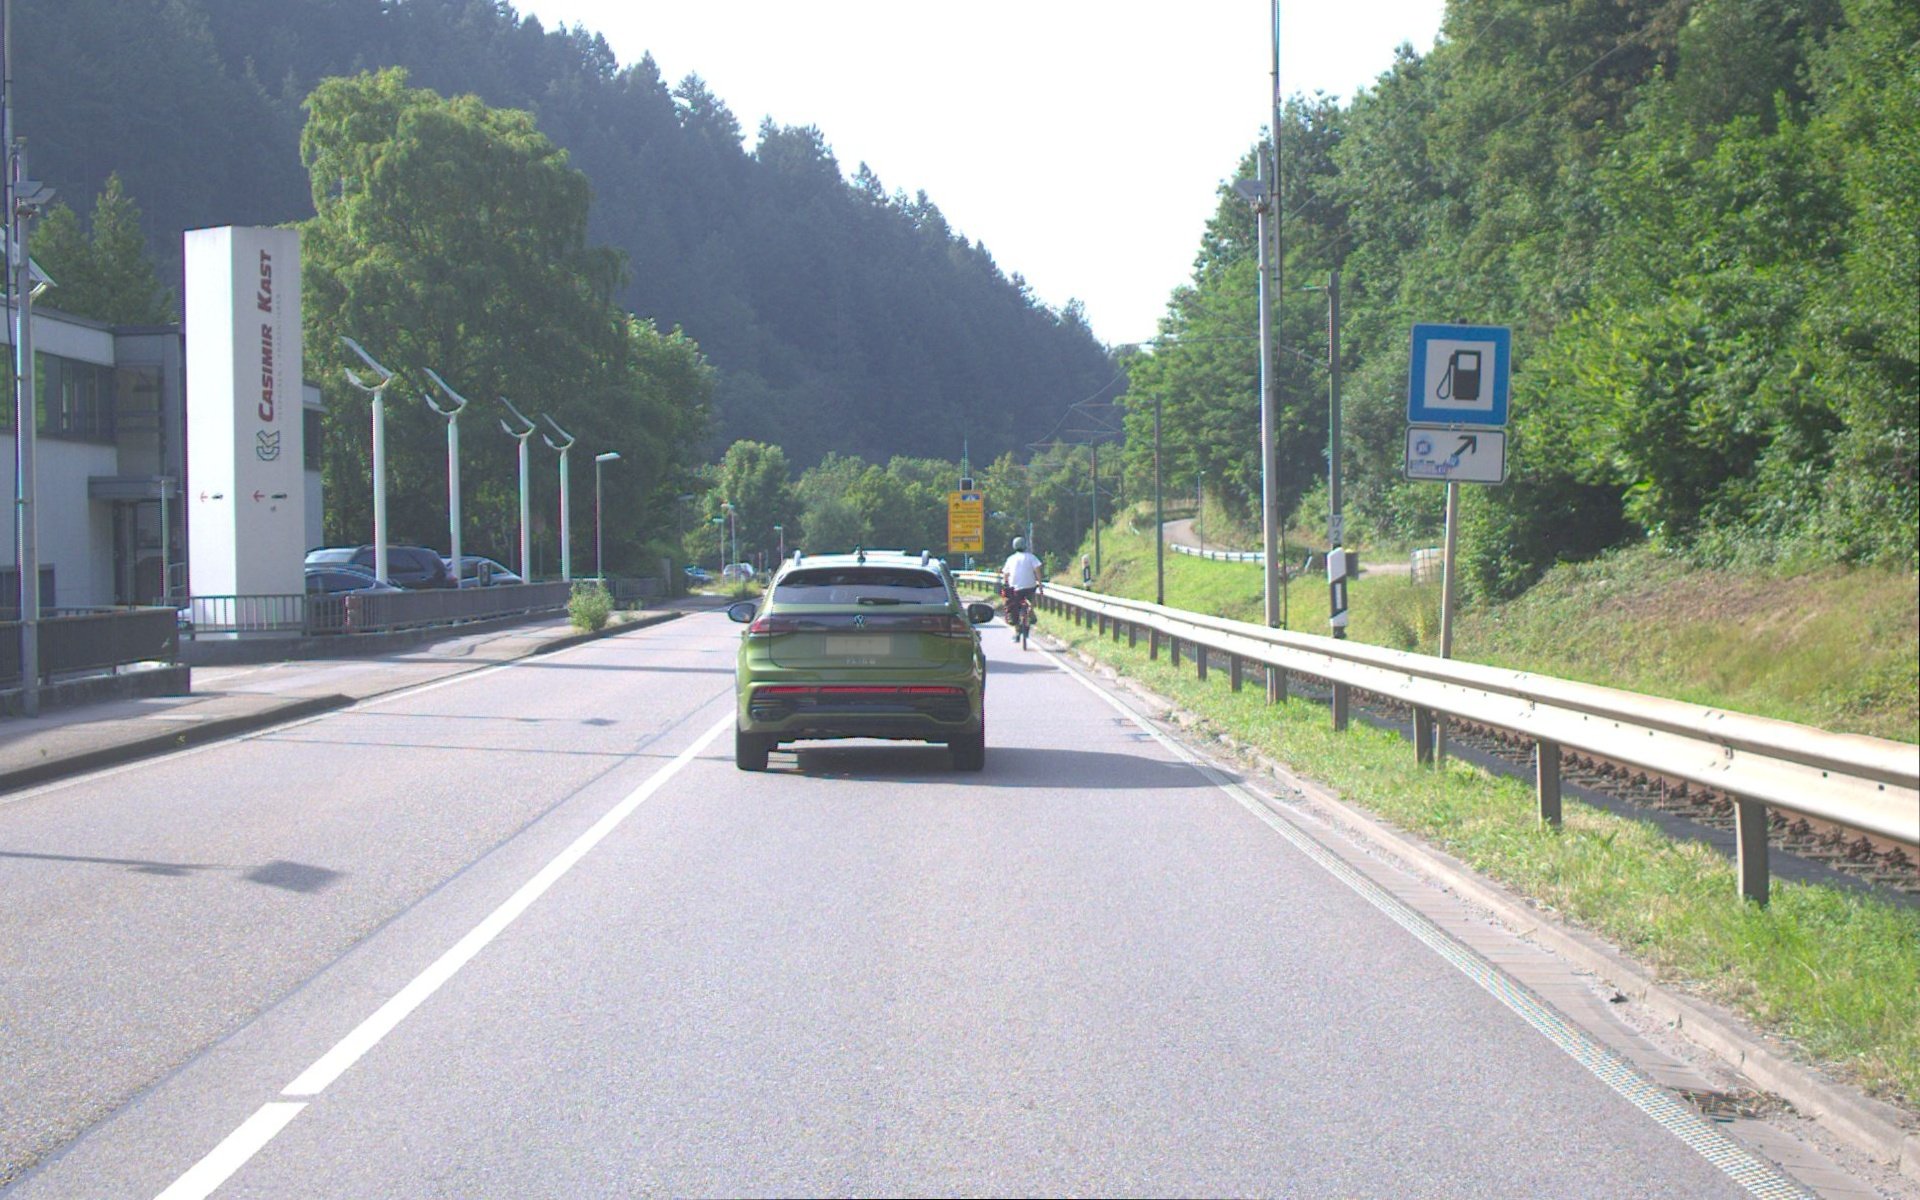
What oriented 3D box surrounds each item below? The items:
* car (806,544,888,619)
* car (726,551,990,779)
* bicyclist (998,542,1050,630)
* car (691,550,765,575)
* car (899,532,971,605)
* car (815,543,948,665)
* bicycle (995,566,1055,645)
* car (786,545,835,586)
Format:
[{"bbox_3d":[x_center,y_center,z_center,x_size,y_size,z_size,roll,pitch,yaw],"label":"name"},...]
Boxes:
[{"bbox_3d":[-2.475,-0.420,75.739,1.739,1.596,4.000,0,1,-2],"label":"car"},{"bbox_3d":[-0.731,0.402,24.687,1.739,1.503,4.000,0,1,-2],"label":"car"},{"bbox_3d":[1.028,-0.226,55.399,0.781,1.407,0.675,0,1,-3],"label":"bicyclist"},{"bbox_3d":[-13.622,-2.184,202.010,4.259,1.428,1.557,0,1,0],"label":"car"},{"bbox_3d":[-0.716,-0.901,96.936,1.993,2.007,4.000,0,1,-1],"label":"car"},{"bbox_3d":[-1.084,0.019,47.211,1.739,1.596,4.000,0,1,-2],"label":"car"},{"bbox_3d":[1.037,0.076,55.252,0.811,1.246,2.123,0,1,-3],"label":"bicycle"},{"bbox_3d":[-5.592,-1.300,128.669,1.677,1.480,4.246,1,1,-1],"label":"car"}]
